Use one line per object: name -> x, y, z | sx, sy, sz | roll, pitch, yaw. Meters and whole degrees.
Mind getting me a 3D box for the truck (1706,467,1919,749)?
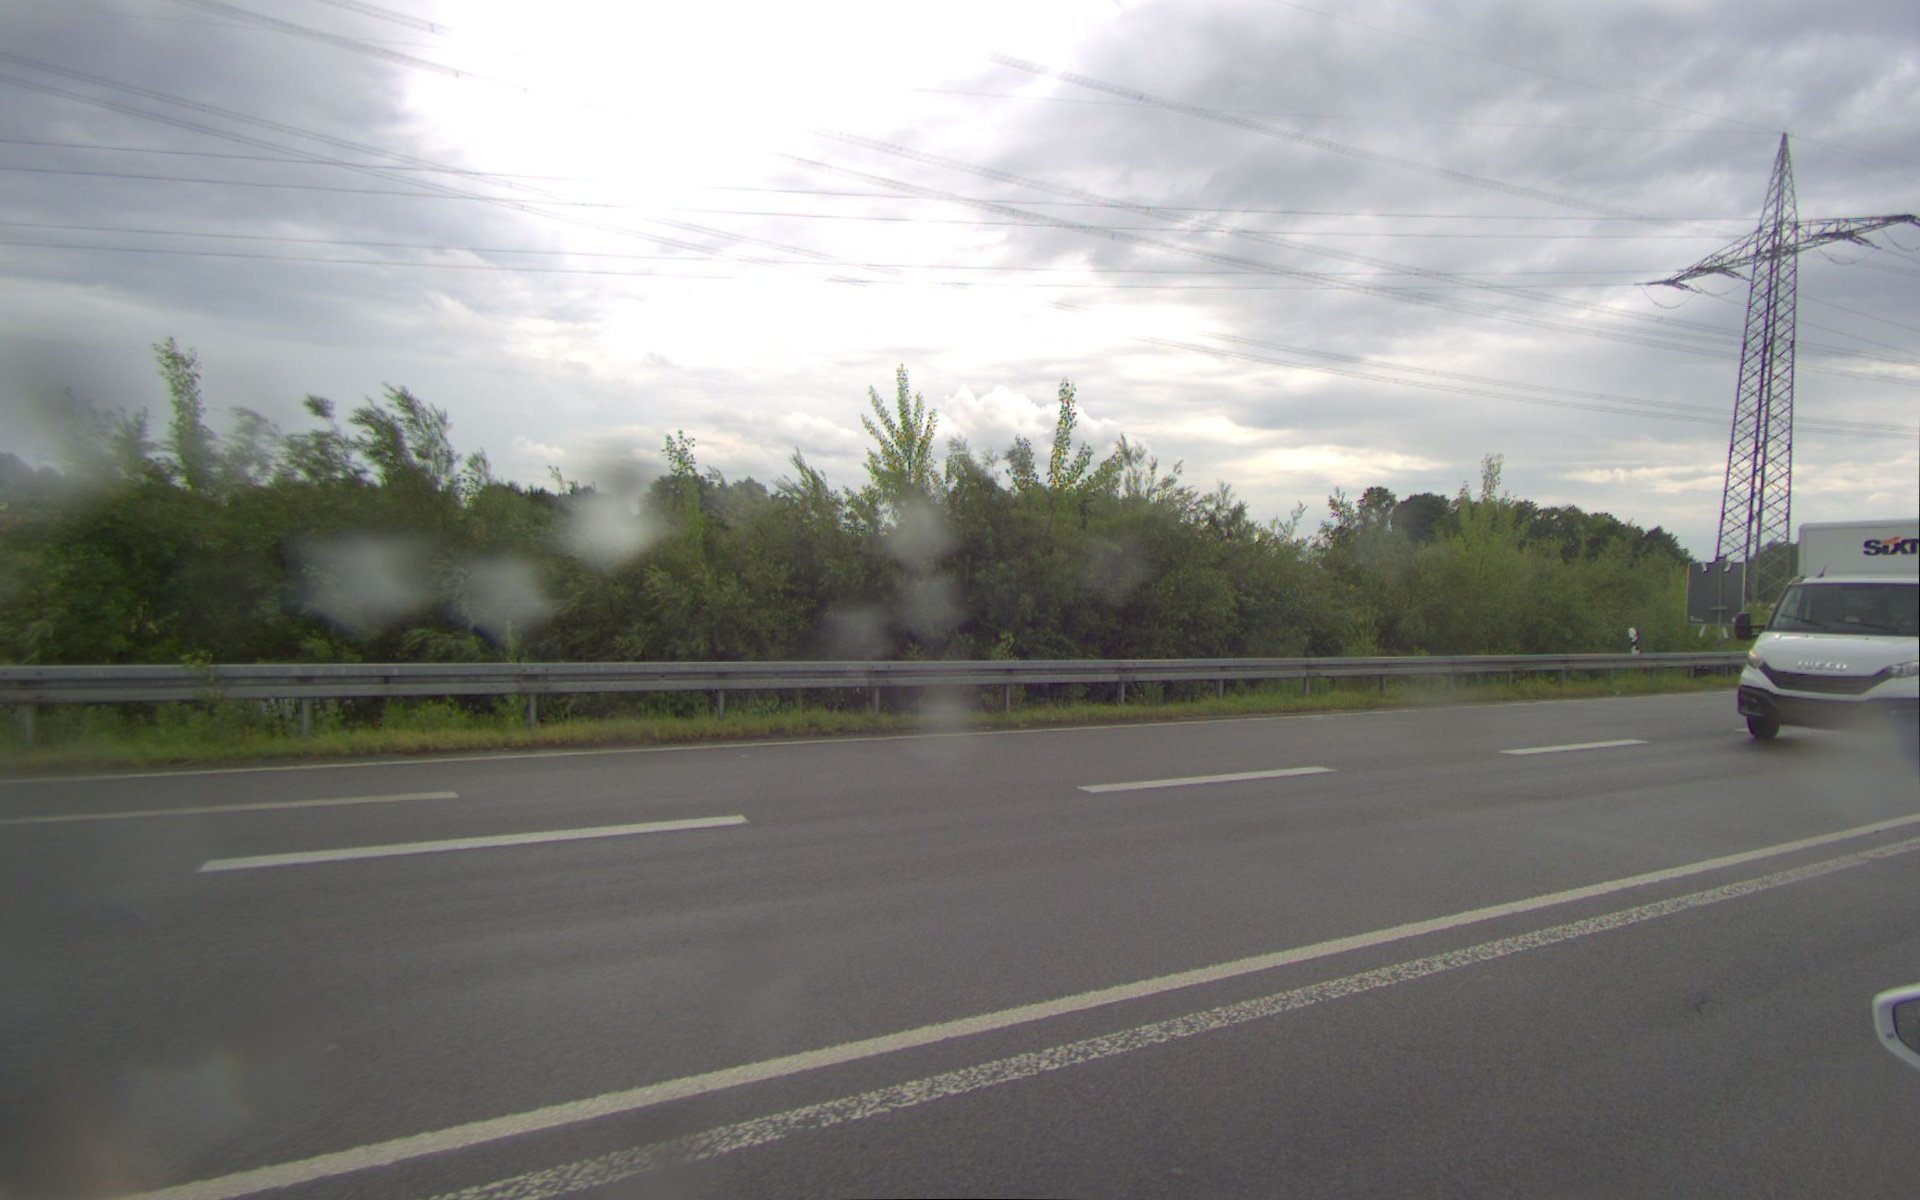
truck -> 13.222, 0.178, 13.969 | 6.613, 3.197, 2.245 | 2, -1, -31
